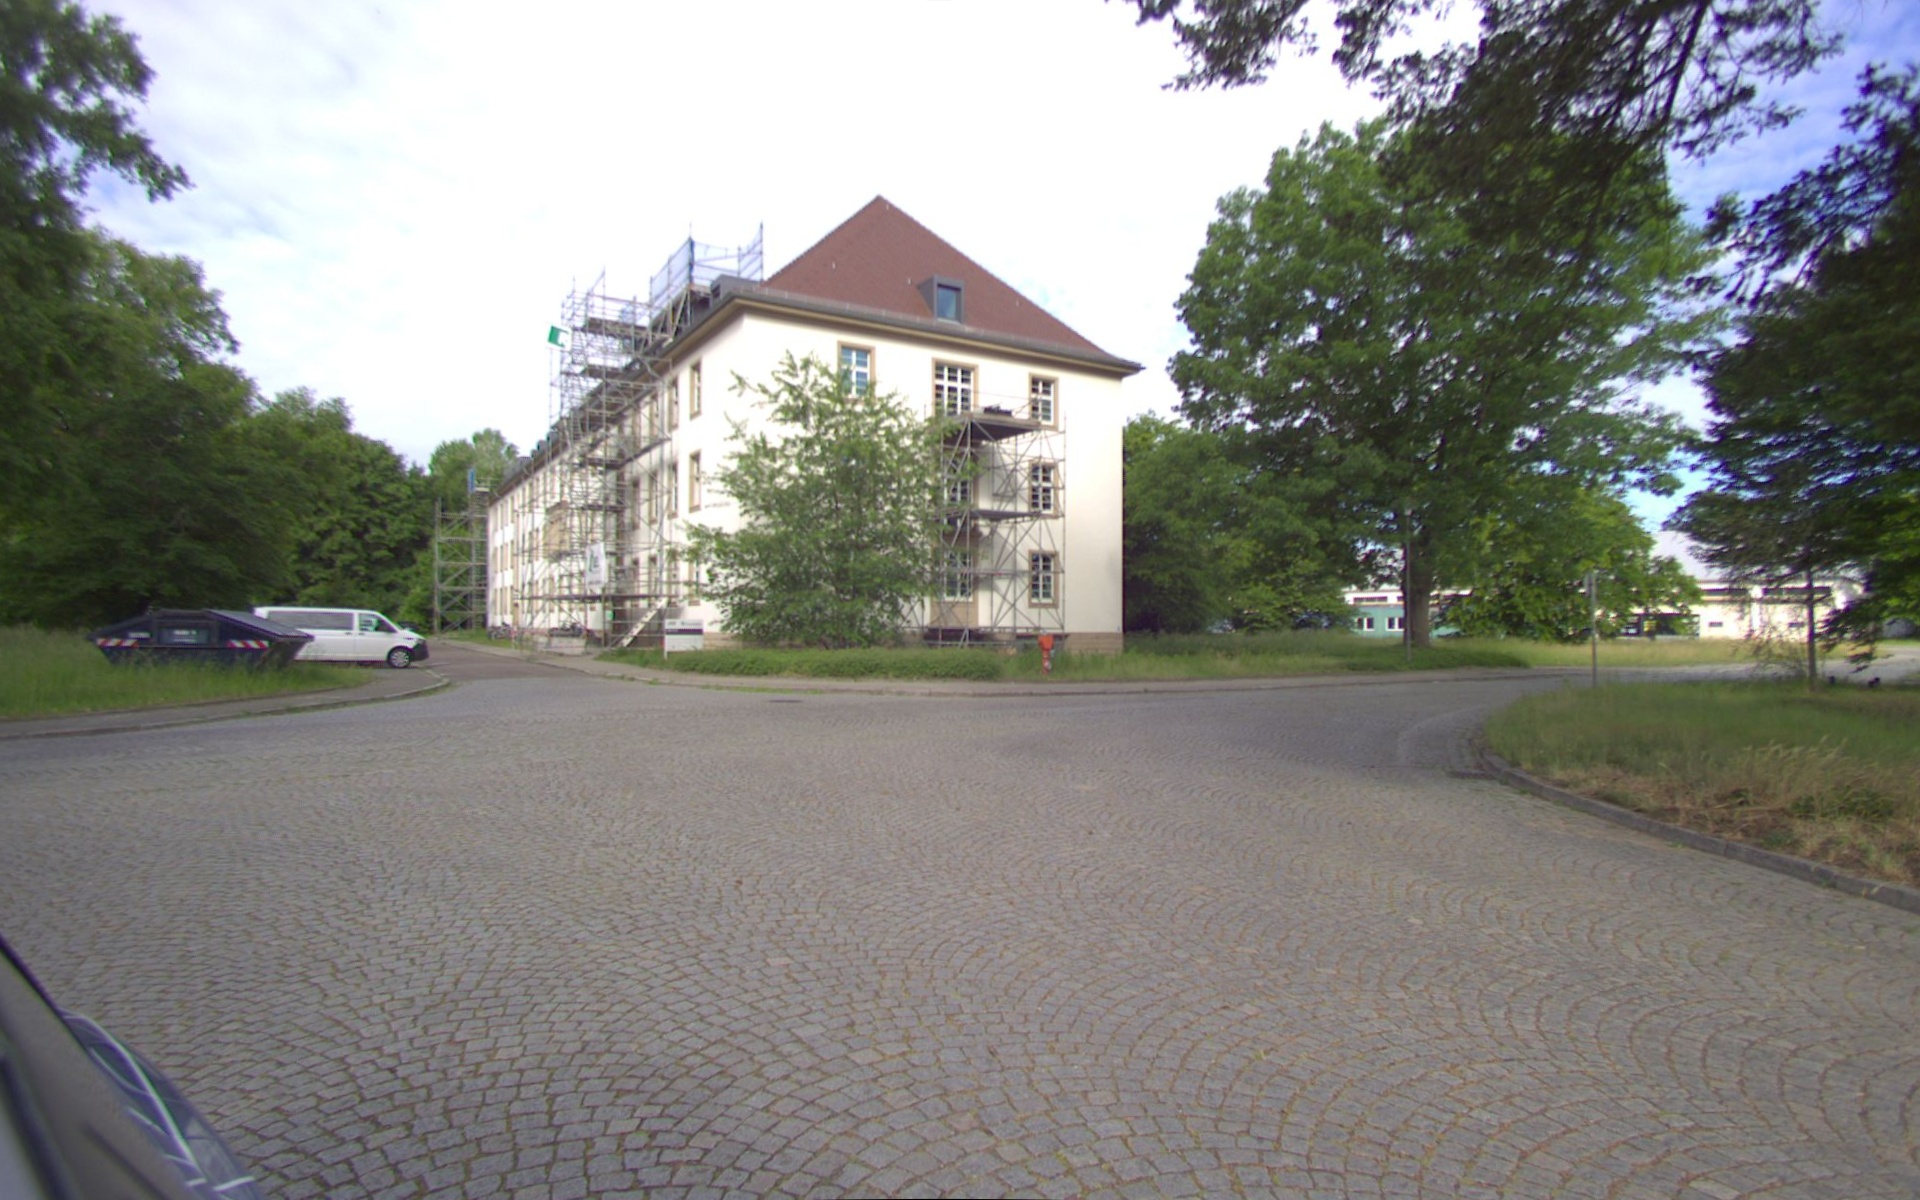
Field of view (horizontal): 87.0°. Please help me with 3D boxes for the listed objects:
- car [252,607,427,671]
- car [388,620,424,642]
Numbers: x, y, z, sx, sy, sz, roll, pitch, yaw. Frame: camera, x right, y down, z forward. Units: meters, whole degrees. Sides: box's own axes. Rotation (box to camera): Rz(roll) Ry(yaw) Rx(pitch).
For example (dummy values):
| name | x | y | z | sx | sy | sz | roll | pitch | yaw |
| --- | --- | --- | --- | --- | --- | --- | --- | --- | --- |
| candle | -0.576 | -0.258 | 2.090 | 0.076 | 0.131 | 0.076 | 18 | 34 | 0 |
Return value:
| name | x | y | z | sx | sy | sz | roll | pitch | yaw |
| --- | --- | --- | --- | --- | --- | --- | --- | --- | --- |
| car | -20.541 | 1.261 | 33.612 | 4.836 | 2.010 | 2.005 | 1 | -2 | -34 |
| car | -51.056 | 2.836 | 93.263 | 1.997 | 1.941 | 4.004 | 1 | -2 | -42 |
